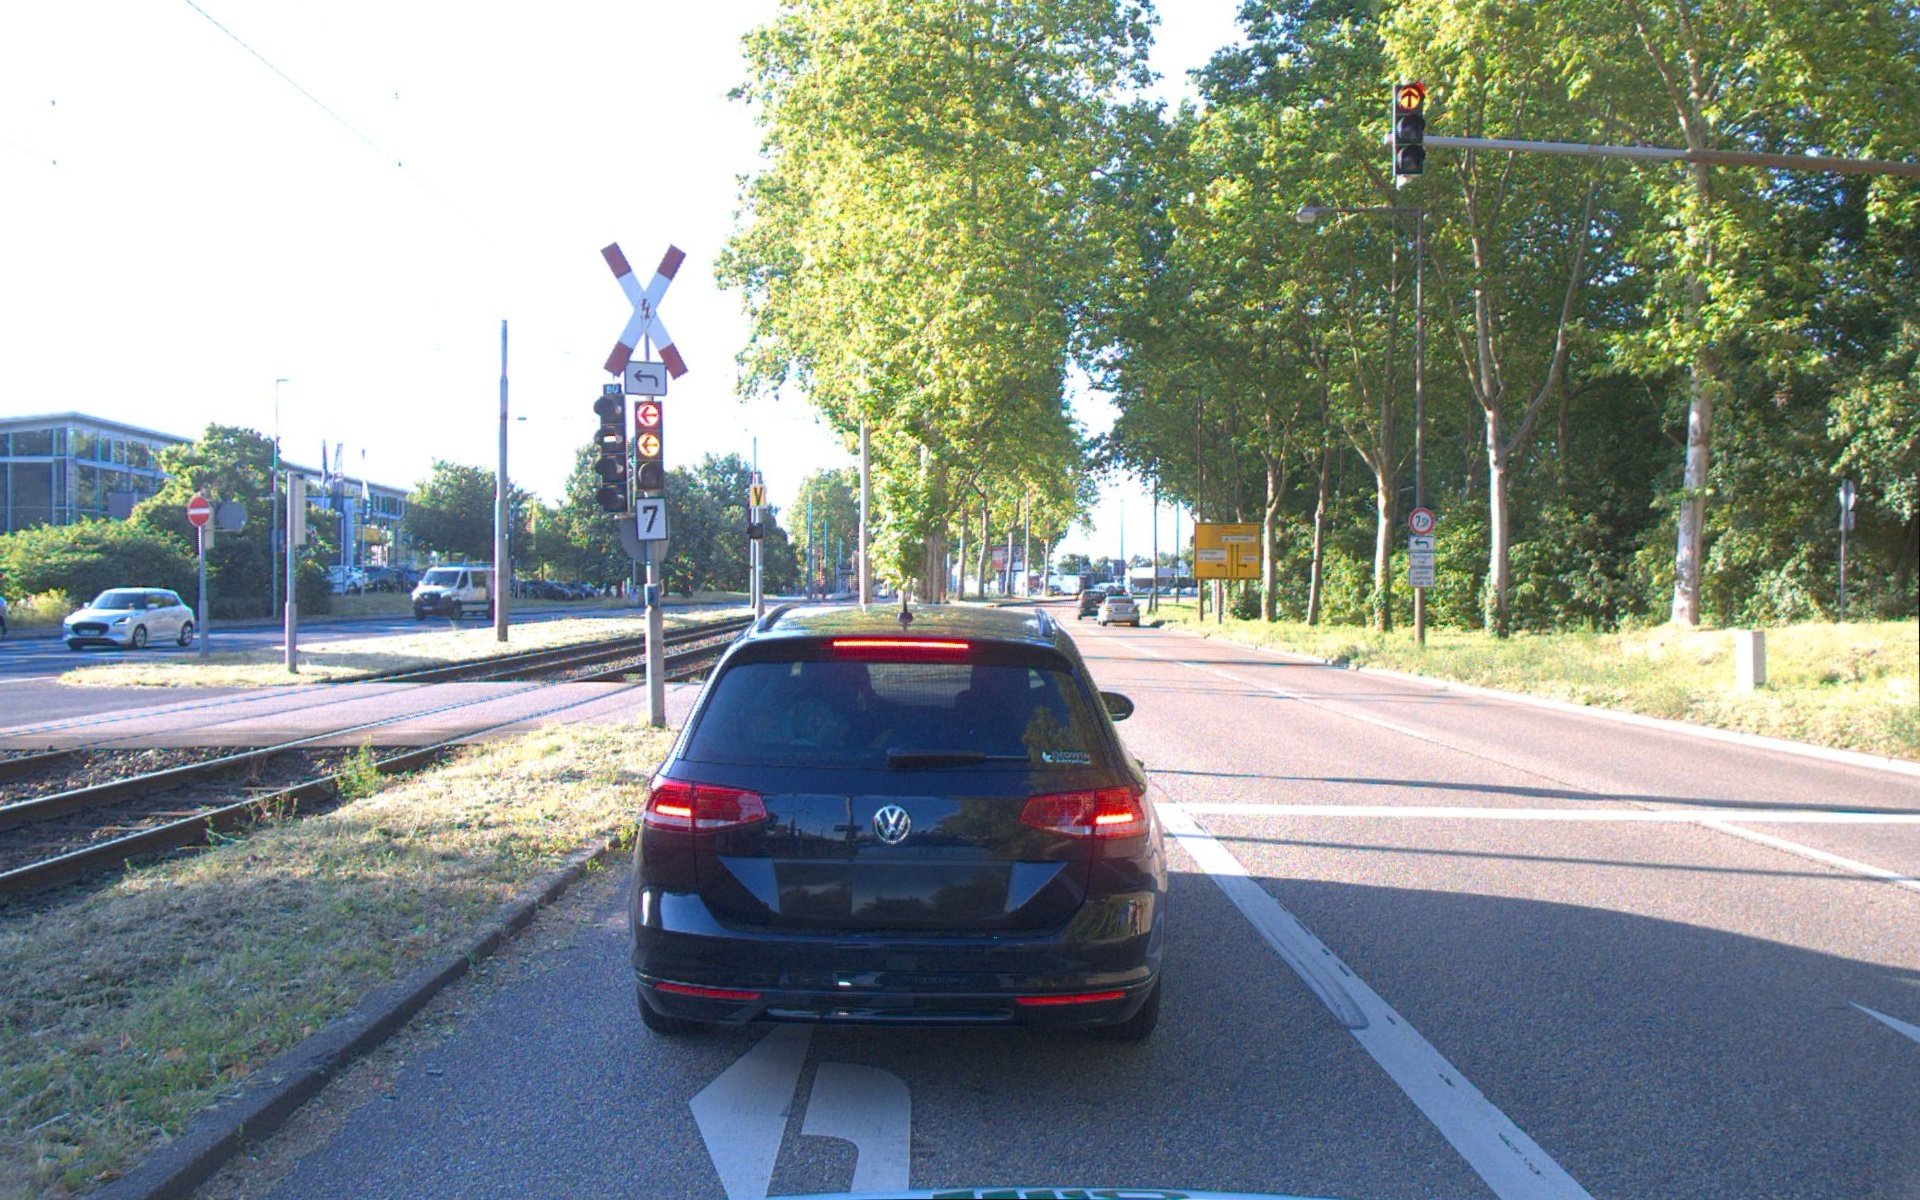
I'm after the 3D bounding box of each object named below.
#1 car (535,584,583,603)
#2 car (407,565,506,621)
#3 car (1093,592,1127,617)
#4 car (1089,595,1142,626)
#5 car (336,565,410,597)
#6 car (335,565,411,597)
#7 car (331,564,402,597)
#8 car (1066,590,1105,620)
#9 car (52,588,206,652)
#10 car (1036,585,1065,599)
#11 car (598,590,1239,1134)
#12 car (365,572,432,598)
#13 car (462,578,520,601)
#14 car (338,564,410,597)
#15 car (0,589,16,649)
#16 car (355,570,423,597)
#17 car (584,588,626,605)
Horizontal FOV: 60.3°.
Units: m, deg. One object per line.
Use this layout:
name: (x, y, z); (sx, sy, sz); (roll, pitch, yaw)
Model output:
car: (-35.221, -0.575, 145.378); (3.909, 1.649, 1.742); (1, 0, -6)
car: (-23.616, -0.329, 77.821); (2.050, 2.504, 5.858); (1, 1, 9)
car: (11.039, 0.350, 121.759); (1.832, 1.663, 4.373); (4, 0, 12)
car: (6.916, 0.463, 74.097); (1.578, 1.317, 3.977); (1, 0, -6)
car: (-33.696, -1.066, 94.958); (3.930, 1.734, 1.732); (1, 0, -22)
car: (-32.913, -1.056, 92.720); (3.930, 1.734, 1.732); (1, 0, -22)
car: (-35.551, -1.162, 99.022); (3.930, 1.848, 1.732); (1, 0, -22)
car: (6.616, 0.249, 87.459); (1.673, 1.588, 4.165); (0, 0, -1)
car: (-21.133, 0.470, 42.231); (1.824, 1.507, 4.092); (1, 1, 0)
car: (9.730, -0.864, 177.692); (1.952, 1.445, 4.001); (1, 0, 20)
car: (-0.146, 0.727, 6.394); (1.758, 1.490, 3.582); (1, 0, -1)
car: (-35.545, -0.965, 104.715); (3.930, 1.583, 1.732); (1, 0, -22)
car: (-35.242, -0.781, 124.475); (3.909, 1.649, 1.742); (1, 0, -6)
car: (-34.445, -1.130, 97.284); (3.930, 1.848, 1.732); (1, 0, -22)
car: (-25.117, 0.484, 40.242); (1.823, 1.507, 4.172); (1, 1, 1)
car: (-35.204, -0.991, 101.937); (3.930, 1.583, 1.732); (1, 0, -22)
car: (-35.965, -0.352, 167.439); (3.909, 1.583, 1.742); (1, 0, -5)
